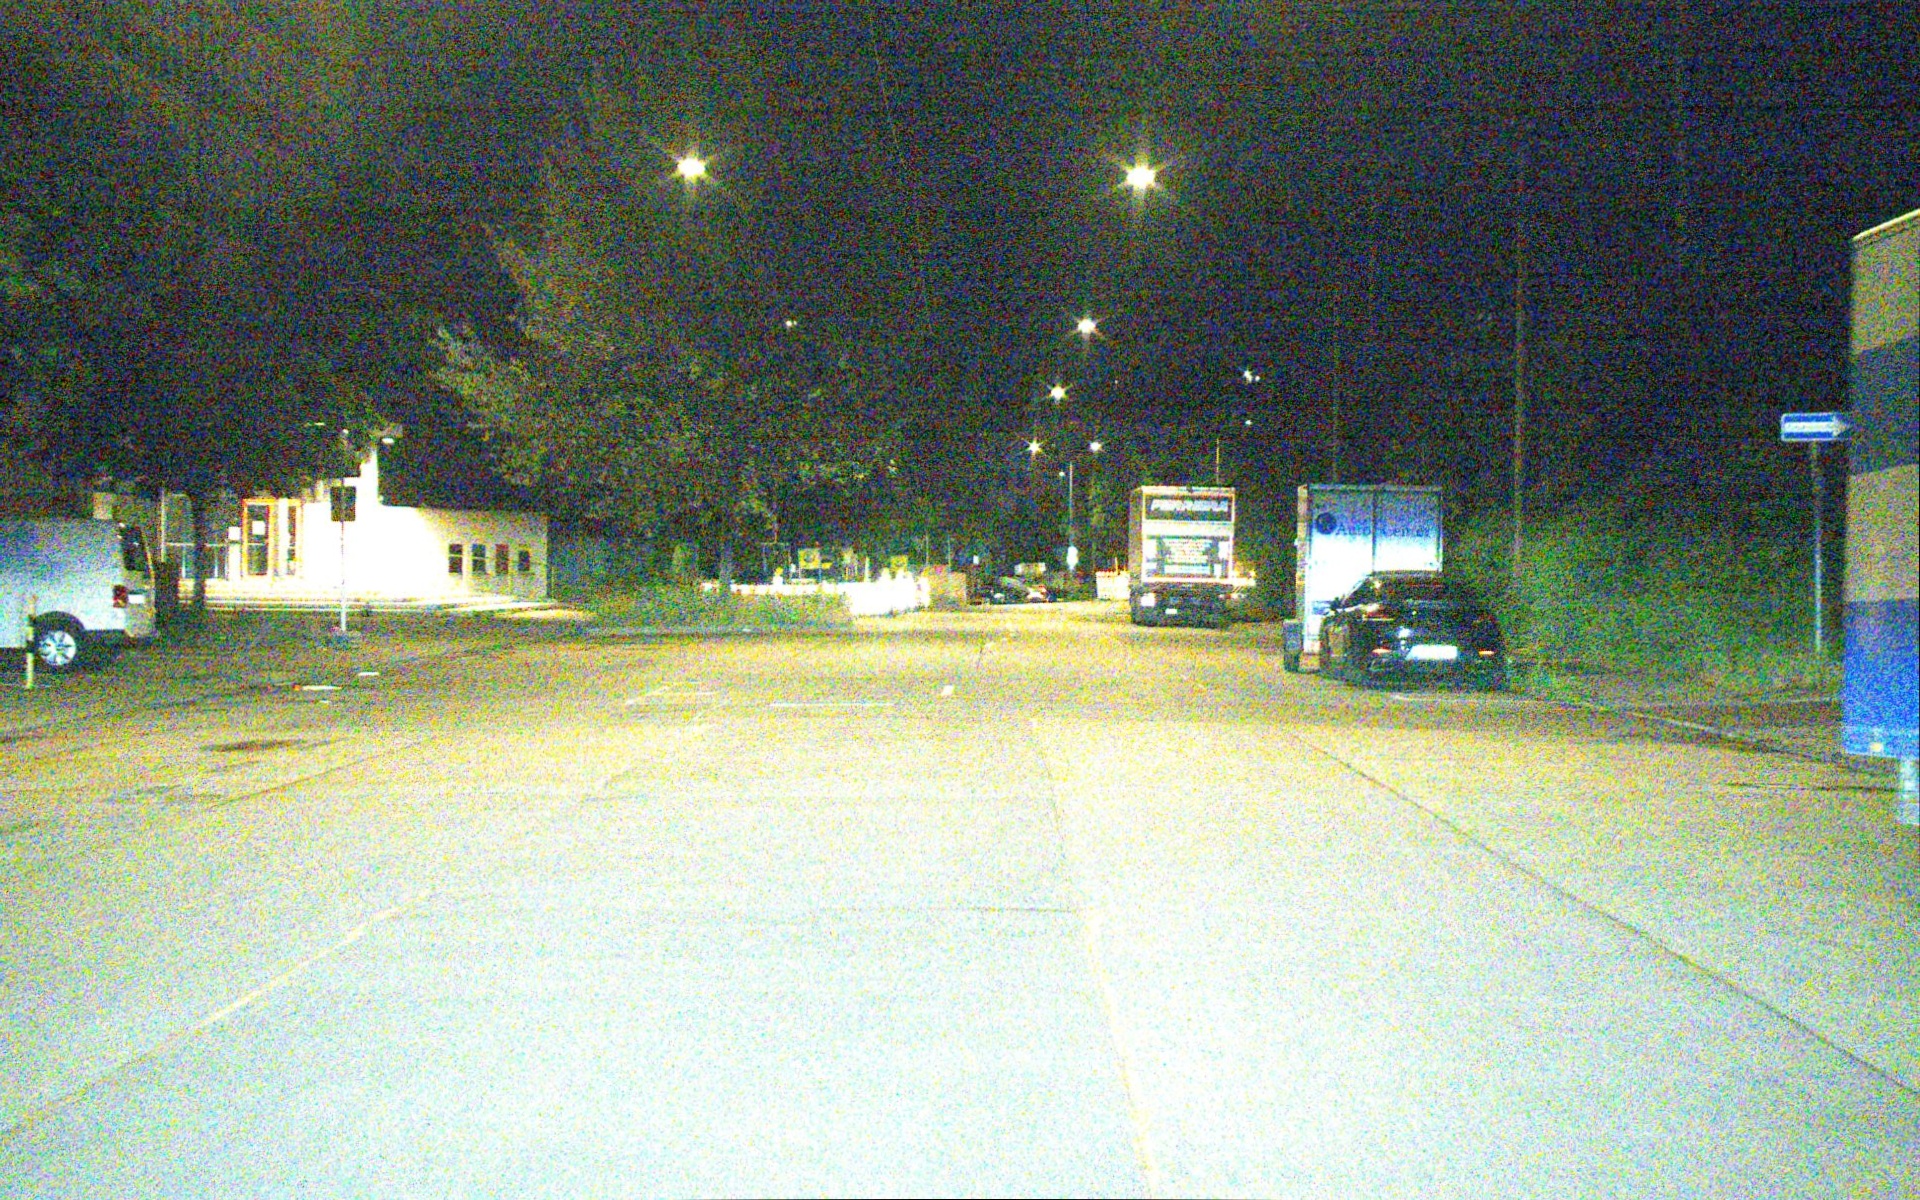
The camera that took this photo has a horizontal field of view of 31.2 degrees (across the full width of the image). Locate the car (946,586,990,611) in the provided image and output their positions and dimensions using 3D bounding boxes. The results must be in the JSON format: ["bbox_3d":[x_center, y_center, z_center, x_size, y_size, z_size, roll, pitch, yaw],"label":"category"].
[{"bbox_3d":[0.580,-0.101,243.343,1.995,1.694,4.203,1,-1,16],"label":"car"}]

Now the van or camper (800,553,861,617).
[{"bbox_3d":[-6.484,-0.711,173.066,2.519,3.084,7.444,-1,0,2],"label":"van or camper"}]

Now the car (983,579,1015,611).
[{"bbox_3d":[2.167,-0.247,191.078,1.721,1.655,4.000,2,-1,1],"label":"car"}]

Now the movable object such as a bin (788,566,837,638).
[{"bbox_3d":[-5.821,0.051,135.360,1.570,2.725,3.702,-2,1,-6],"label":"movable object such as a bin"}]

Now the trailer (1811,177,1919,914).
[{"bbox_3d":[5.534,-0.222,14.875,2.398,3.314,4.363,1,1,-2],"label":"trailer"}]

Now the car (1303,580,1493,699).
[{"bbox_3d":[5.549,0.468,44.039,1.726,1.382,4.677,1,1,-1],"label":"car"}]

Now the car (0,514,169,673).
[{"bbox_3d":[-12.695,-0.131,44.411,4.432,1.965,2.000,2,1,0],"label":"car"}]

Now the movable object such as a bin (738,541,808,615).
[{"bbox_3d":[-6.308,-0.725,115.765,1.548,2.459,2.840,0,0,-20],"label":"movable object such as a bin"}]

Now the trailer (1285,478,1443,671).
[{"bbox_3d":[5.828,-0.378,50.006,1.994,2.642,4.000,2,1,4],"label":"trailer"}]

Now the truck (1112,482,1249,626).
[{"bbox_3d":[6.213,-1.245,98.321,3.324,3.855,9.327,1,0,1],"label":"truck"}]

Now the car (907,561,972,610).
[{"bbox_3d":[-1.328,-0.932,227.693,2.520,3.160,7.132,-1,0,14],"label":"car"}]

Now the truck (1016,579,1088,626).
[{"bbox_3d":[6.936,0.170,258.844,1.996,3.392,8.967,2,1,25],"label":"truck"}]

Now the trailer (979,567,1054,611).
[{"bbox_3d":[2.881,-0.548,176.278,1.559,2.153,5.222,-1,-1,-27],"label":"trailer"}]
